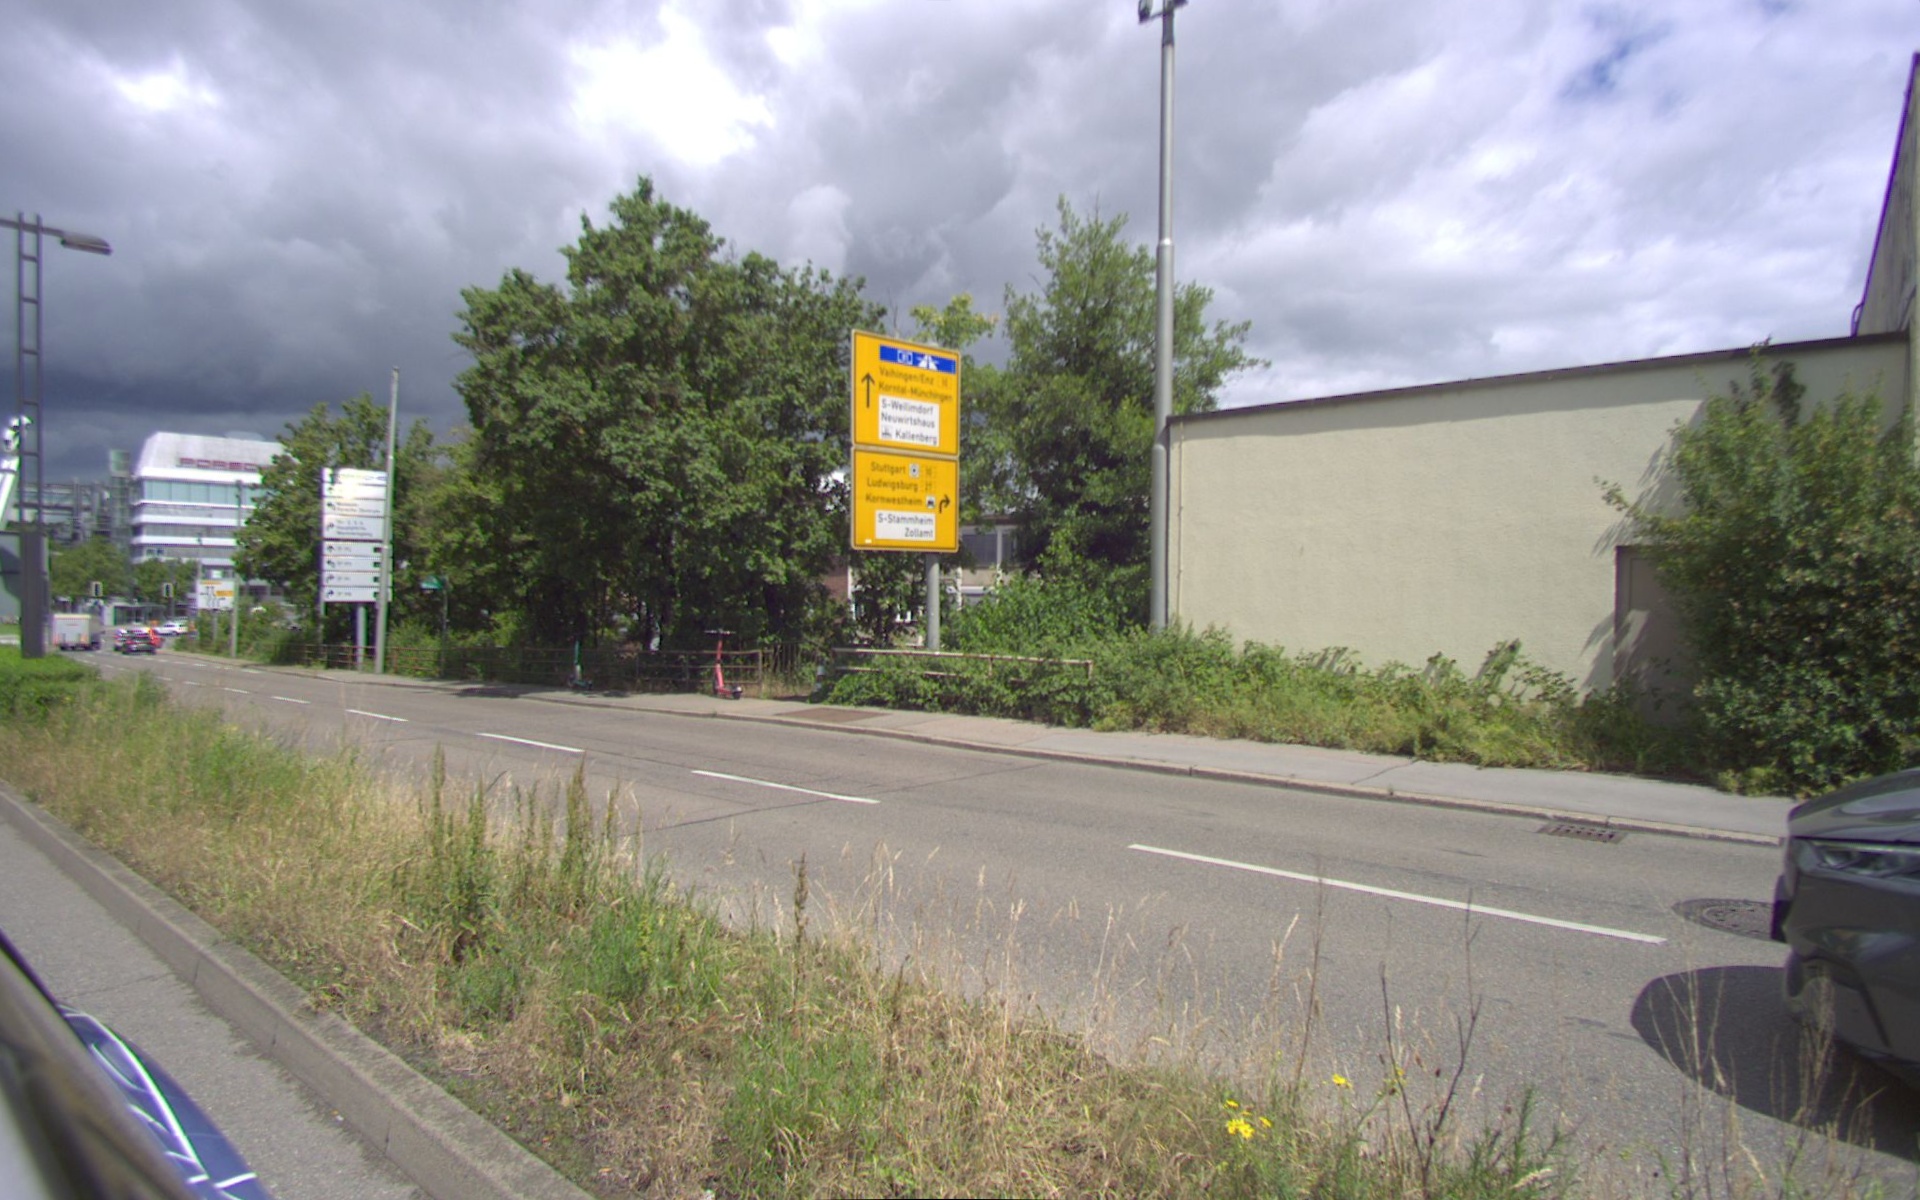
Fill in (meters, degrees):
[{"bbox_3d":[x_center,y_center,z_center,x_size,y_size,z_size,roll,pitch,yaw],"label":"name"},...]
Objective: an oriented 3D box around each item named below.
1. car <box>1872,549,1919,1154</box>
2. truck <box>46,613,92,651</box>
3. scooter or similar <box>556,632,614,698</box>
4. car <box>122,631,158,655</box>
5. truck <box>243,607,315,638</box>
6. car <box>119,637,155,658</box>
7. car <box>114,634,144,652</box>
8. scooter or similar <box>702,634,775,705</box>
[{"bbox_3d":[4.744,0.671,1.870,4.440,1.639,1.858,-2,-3,41],"label":"car"},{"bbox_3d":[-76.995,2.793,87.495,2.820,2.879,9.388,0,-3,-41],"label":"truck"},{"bbox_3d":[-7.958,1.356,21.431,0.486,1.314,1.644,-2,0,-44],"label":"scooter or similar"},{"bbox_3d":[-75.240,3.920,92.947,1.966,1.973,4.641,0,-1,-32],"label":"car"},{"bbox_3d":[-86.862,2.920,129.050,8.906,3.594,2.350,-2,0,16],"label":"truck"},{"bbox_3d":[-61.195,3.498,75.213,1.817,1.519,4.566,1,-2,-42],"label":"car"},{"bbox_3d":[-71.333,3.663,86.884,1.772,1.433,4.502,2,-2,-37],"label":"car"},{"bbox_3d":[-4.043,1.242,18.391,0.485,1.225,1.644,1,-2,-44],"label":"scooter or similar"}]
